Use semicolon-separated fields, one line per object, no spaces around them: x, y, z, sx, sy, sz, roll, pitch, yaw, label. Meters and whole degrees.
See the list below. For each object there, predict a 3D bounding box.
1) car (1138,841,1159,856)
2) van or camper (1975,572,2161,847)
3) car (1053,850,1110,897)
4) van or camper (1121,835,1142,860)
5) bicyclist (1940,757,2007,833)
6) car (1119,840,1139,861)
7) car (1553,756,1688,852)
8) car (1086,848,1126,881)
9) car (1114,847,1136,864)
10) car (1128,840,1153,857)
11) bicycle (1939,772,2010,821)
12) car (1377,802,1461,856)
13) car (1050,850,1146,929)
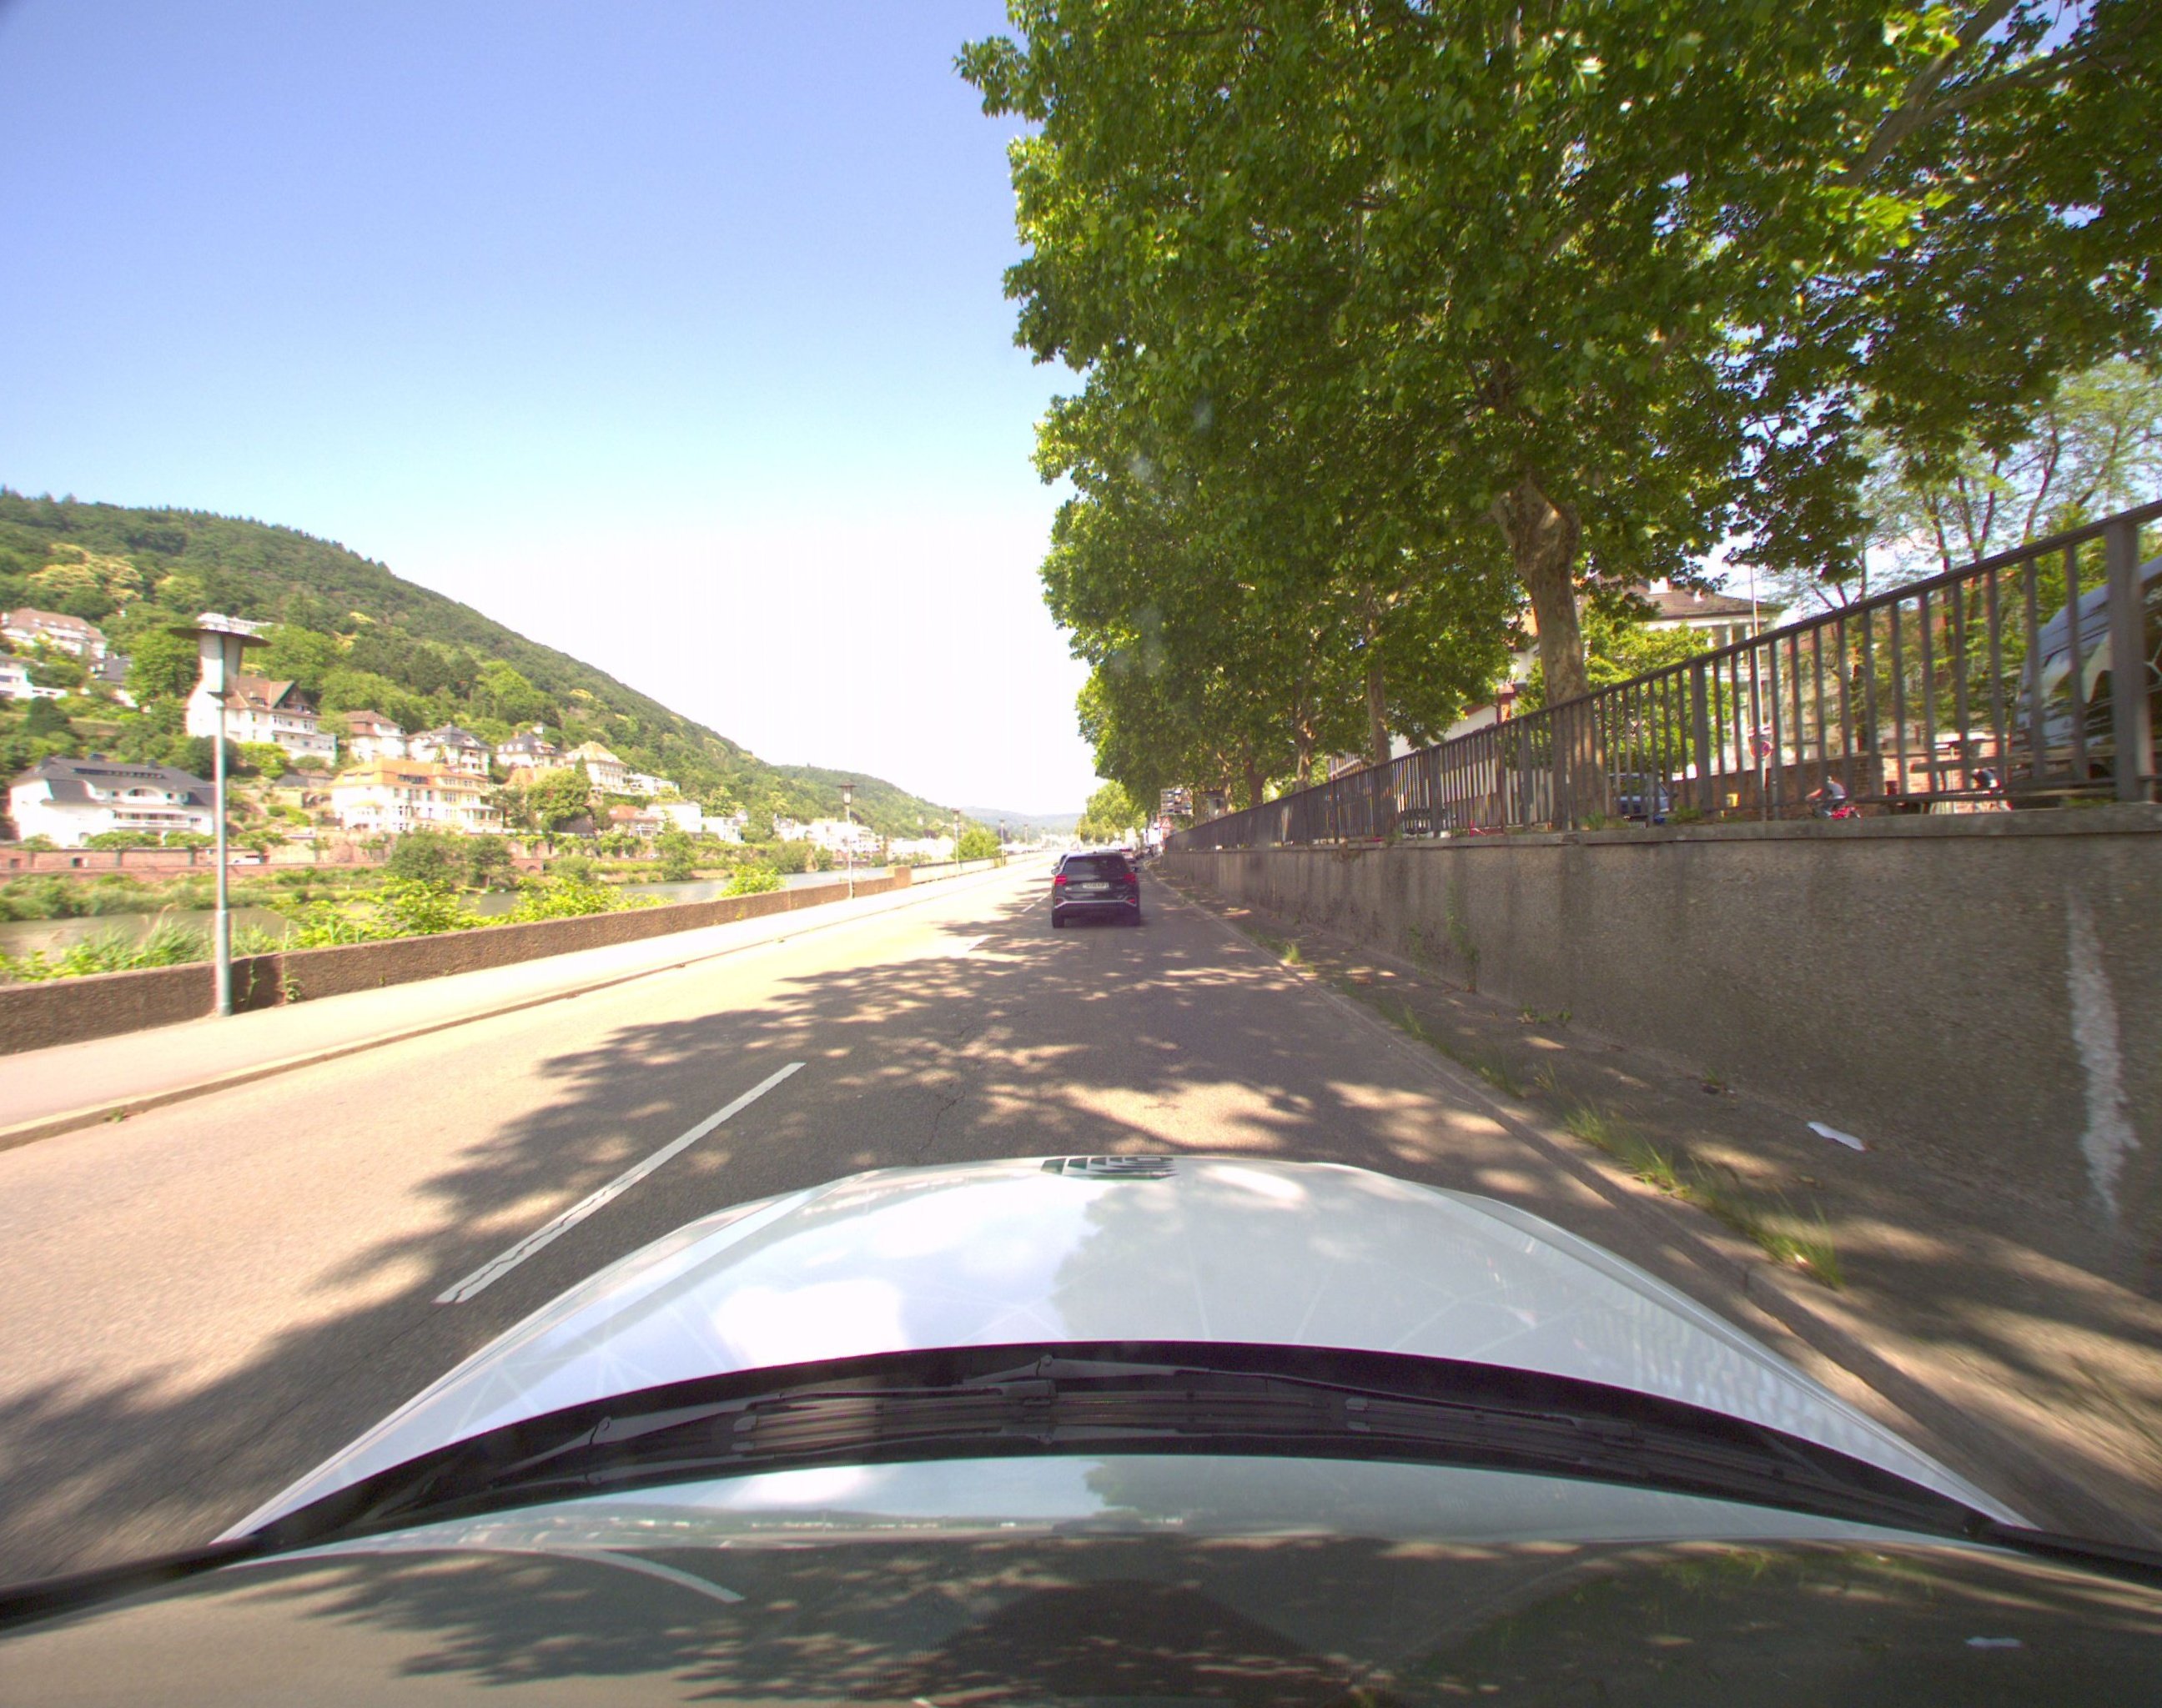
10.145;-0.787;122.580;2.652;2.013;5.826;-5;0;1;car
9.887;-1.233;6.082;2.315;2.184;7.402;0;-1;31;van or camper
0.067;0.618;28.572;1.822;1.511;4.001;-1;0;1;car
6.213;-0.790;99.782;2.300;2.847;4.250;-5;0;3;van or camper
20.646;-1.343;18.858;0.696;1.683;0.849;0;-2;20;bicyclist
5.257;-0.377;89.635;1.986;2.169;4.001;-5;0;1;car
9.811;-0.817;15.067;1.633;1.500;3.841;-2;0;27;car
1.225;0.483;39.711;1.822;1.486;4.001;-1;0;1;car
3.927;0.086;72.695;1.822;1.444;4.001;-1;0;1;car
8.159;-0.800;112.525;3.087;2.013;5.826;-5;0;1;car
20.637;-1.303;18.840;0.414;0.976;1.552;0;-1;20;bicycle
10.226;-0.708;24.478;1.757;1.469;4.025;-1;0;30;car
0.373;0.675;17.581;1.822;1.486;4.001;-1;0;1;car
